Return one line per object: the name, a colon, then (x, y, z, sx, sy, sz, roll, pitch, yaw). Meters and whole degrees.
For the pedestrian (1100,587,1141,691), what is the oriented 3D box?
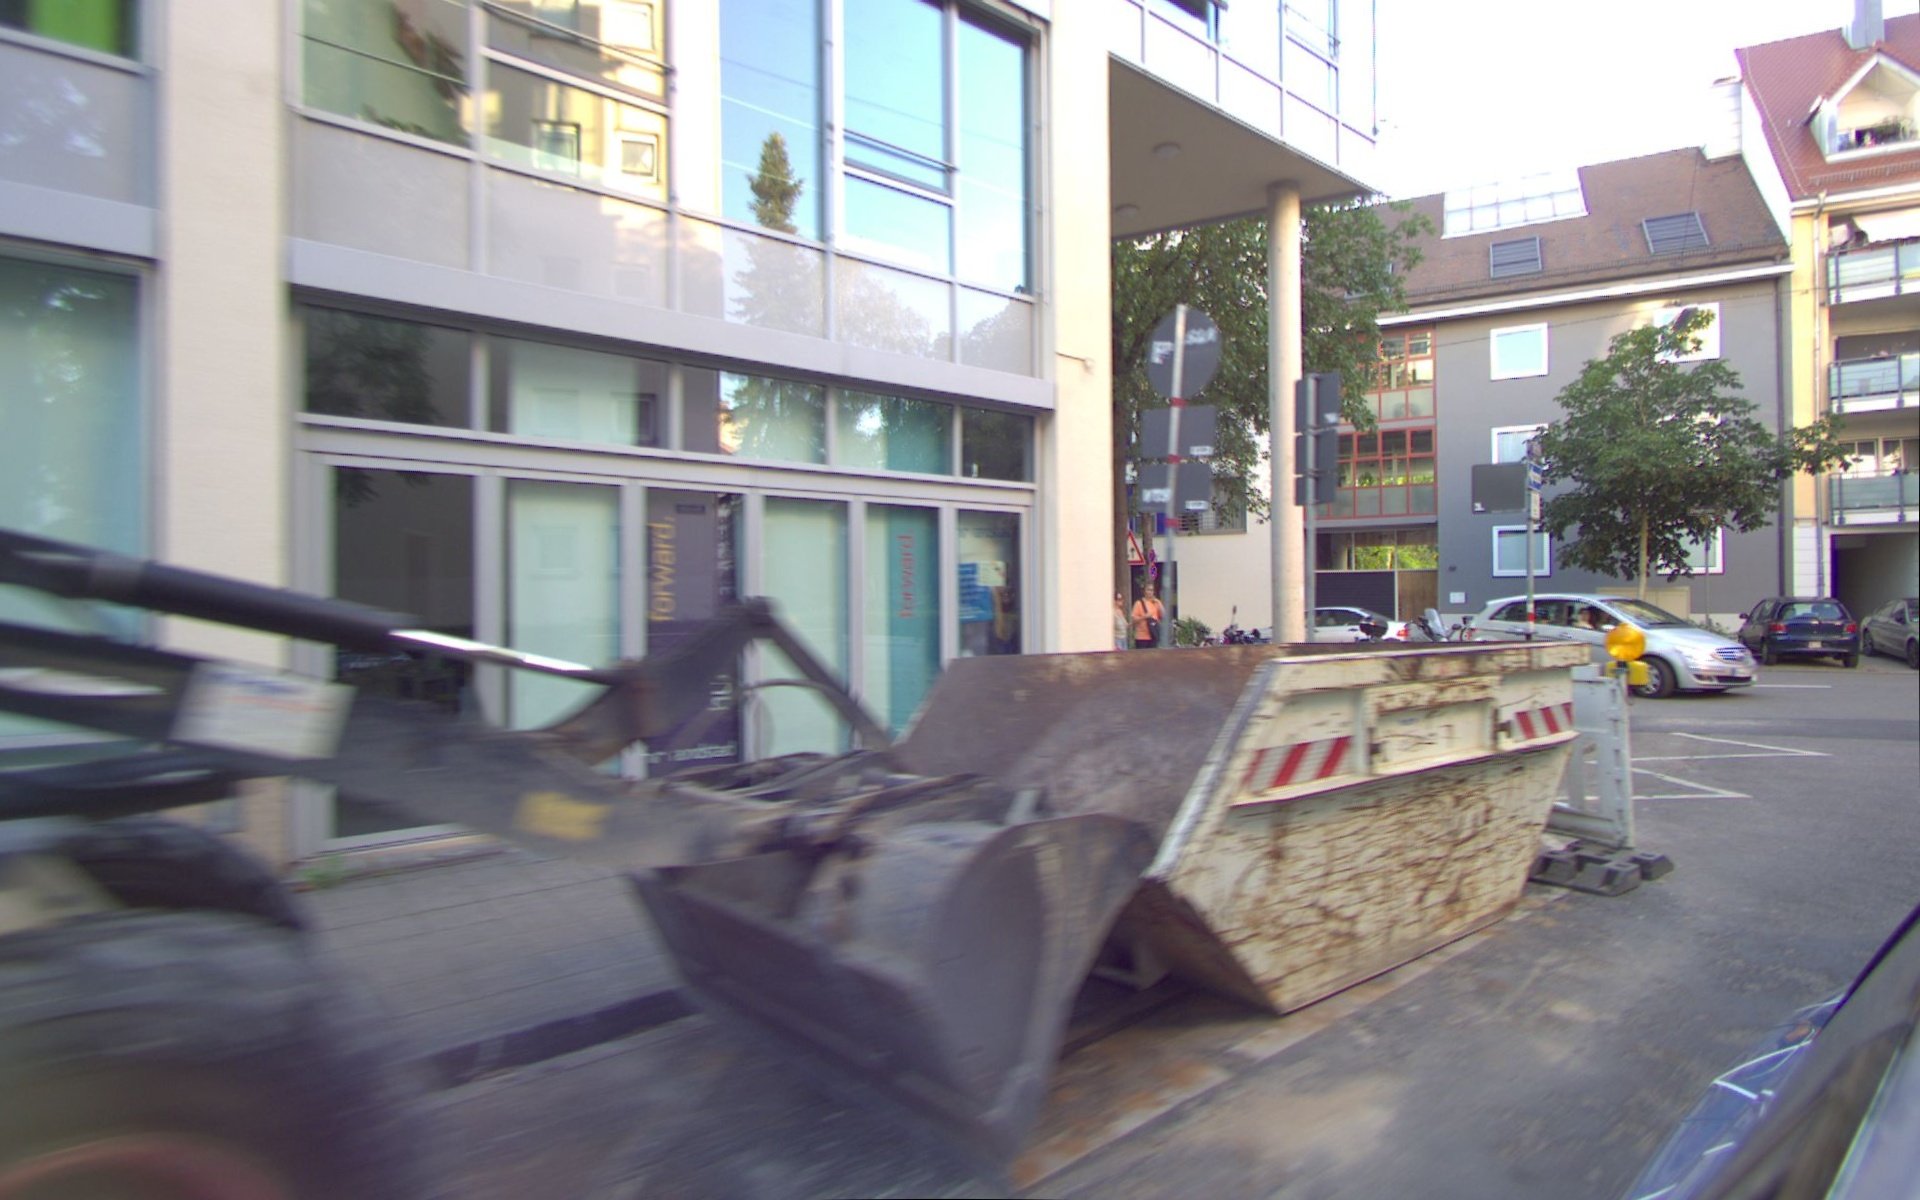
pedestrian: (2.446, 0.585, 15.415, 0.462, 1.550, 0.409, -1, -1, -17)

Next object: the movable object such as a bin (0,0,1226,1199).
movable object such as a bin: (-2.143, 0.176, 1.791, 5.647, 2.657, 2.019, -1, -2, -39)

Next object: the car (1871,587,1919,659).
car: (21.721, 0.495, 22.103, 1.731, 1.420, 4.207, 0, 3, 28)

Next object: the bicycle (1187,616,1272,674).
bicycle: (5.188, 0.859, 19.521, 1.517, 1.079, 0.372, -1, -1, 27)

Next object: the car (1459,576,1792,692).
car: (10.698, 0.545, 16.673, 1.768, 1.638, 4.279, 1, -2, -24)

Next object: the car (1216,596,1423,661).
car: (8.664, 0.710, 24.503, 4.497, 1.469, 1.870, -1, -3, 29)

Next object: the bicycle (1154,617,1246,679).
bicycle: (4.179, 0.824, 17.671, 1.517, 1.054, 0.372, -1, -1, 27)

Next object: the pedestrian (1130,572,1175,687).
pedestrian: (2.941, 0.436, 15.475, 0.502, 1.725, 0.409, -1, -1, -17)

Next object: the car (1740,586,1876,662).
car: (19.421, 0.470, 23.340, 1.618, 1.468, 3.821, 0, 3, 28)

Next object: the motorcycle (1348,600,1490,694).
motorcycle: (7.372, 0.712, 16.405, 0.783, 1.413, 2.212, 1, -1, -19)

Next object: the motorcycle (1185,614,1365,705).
motorcycle: (4.167, 0.770, 13.469, 2.222, 1.138, 0.637, -1, -1, 19)
